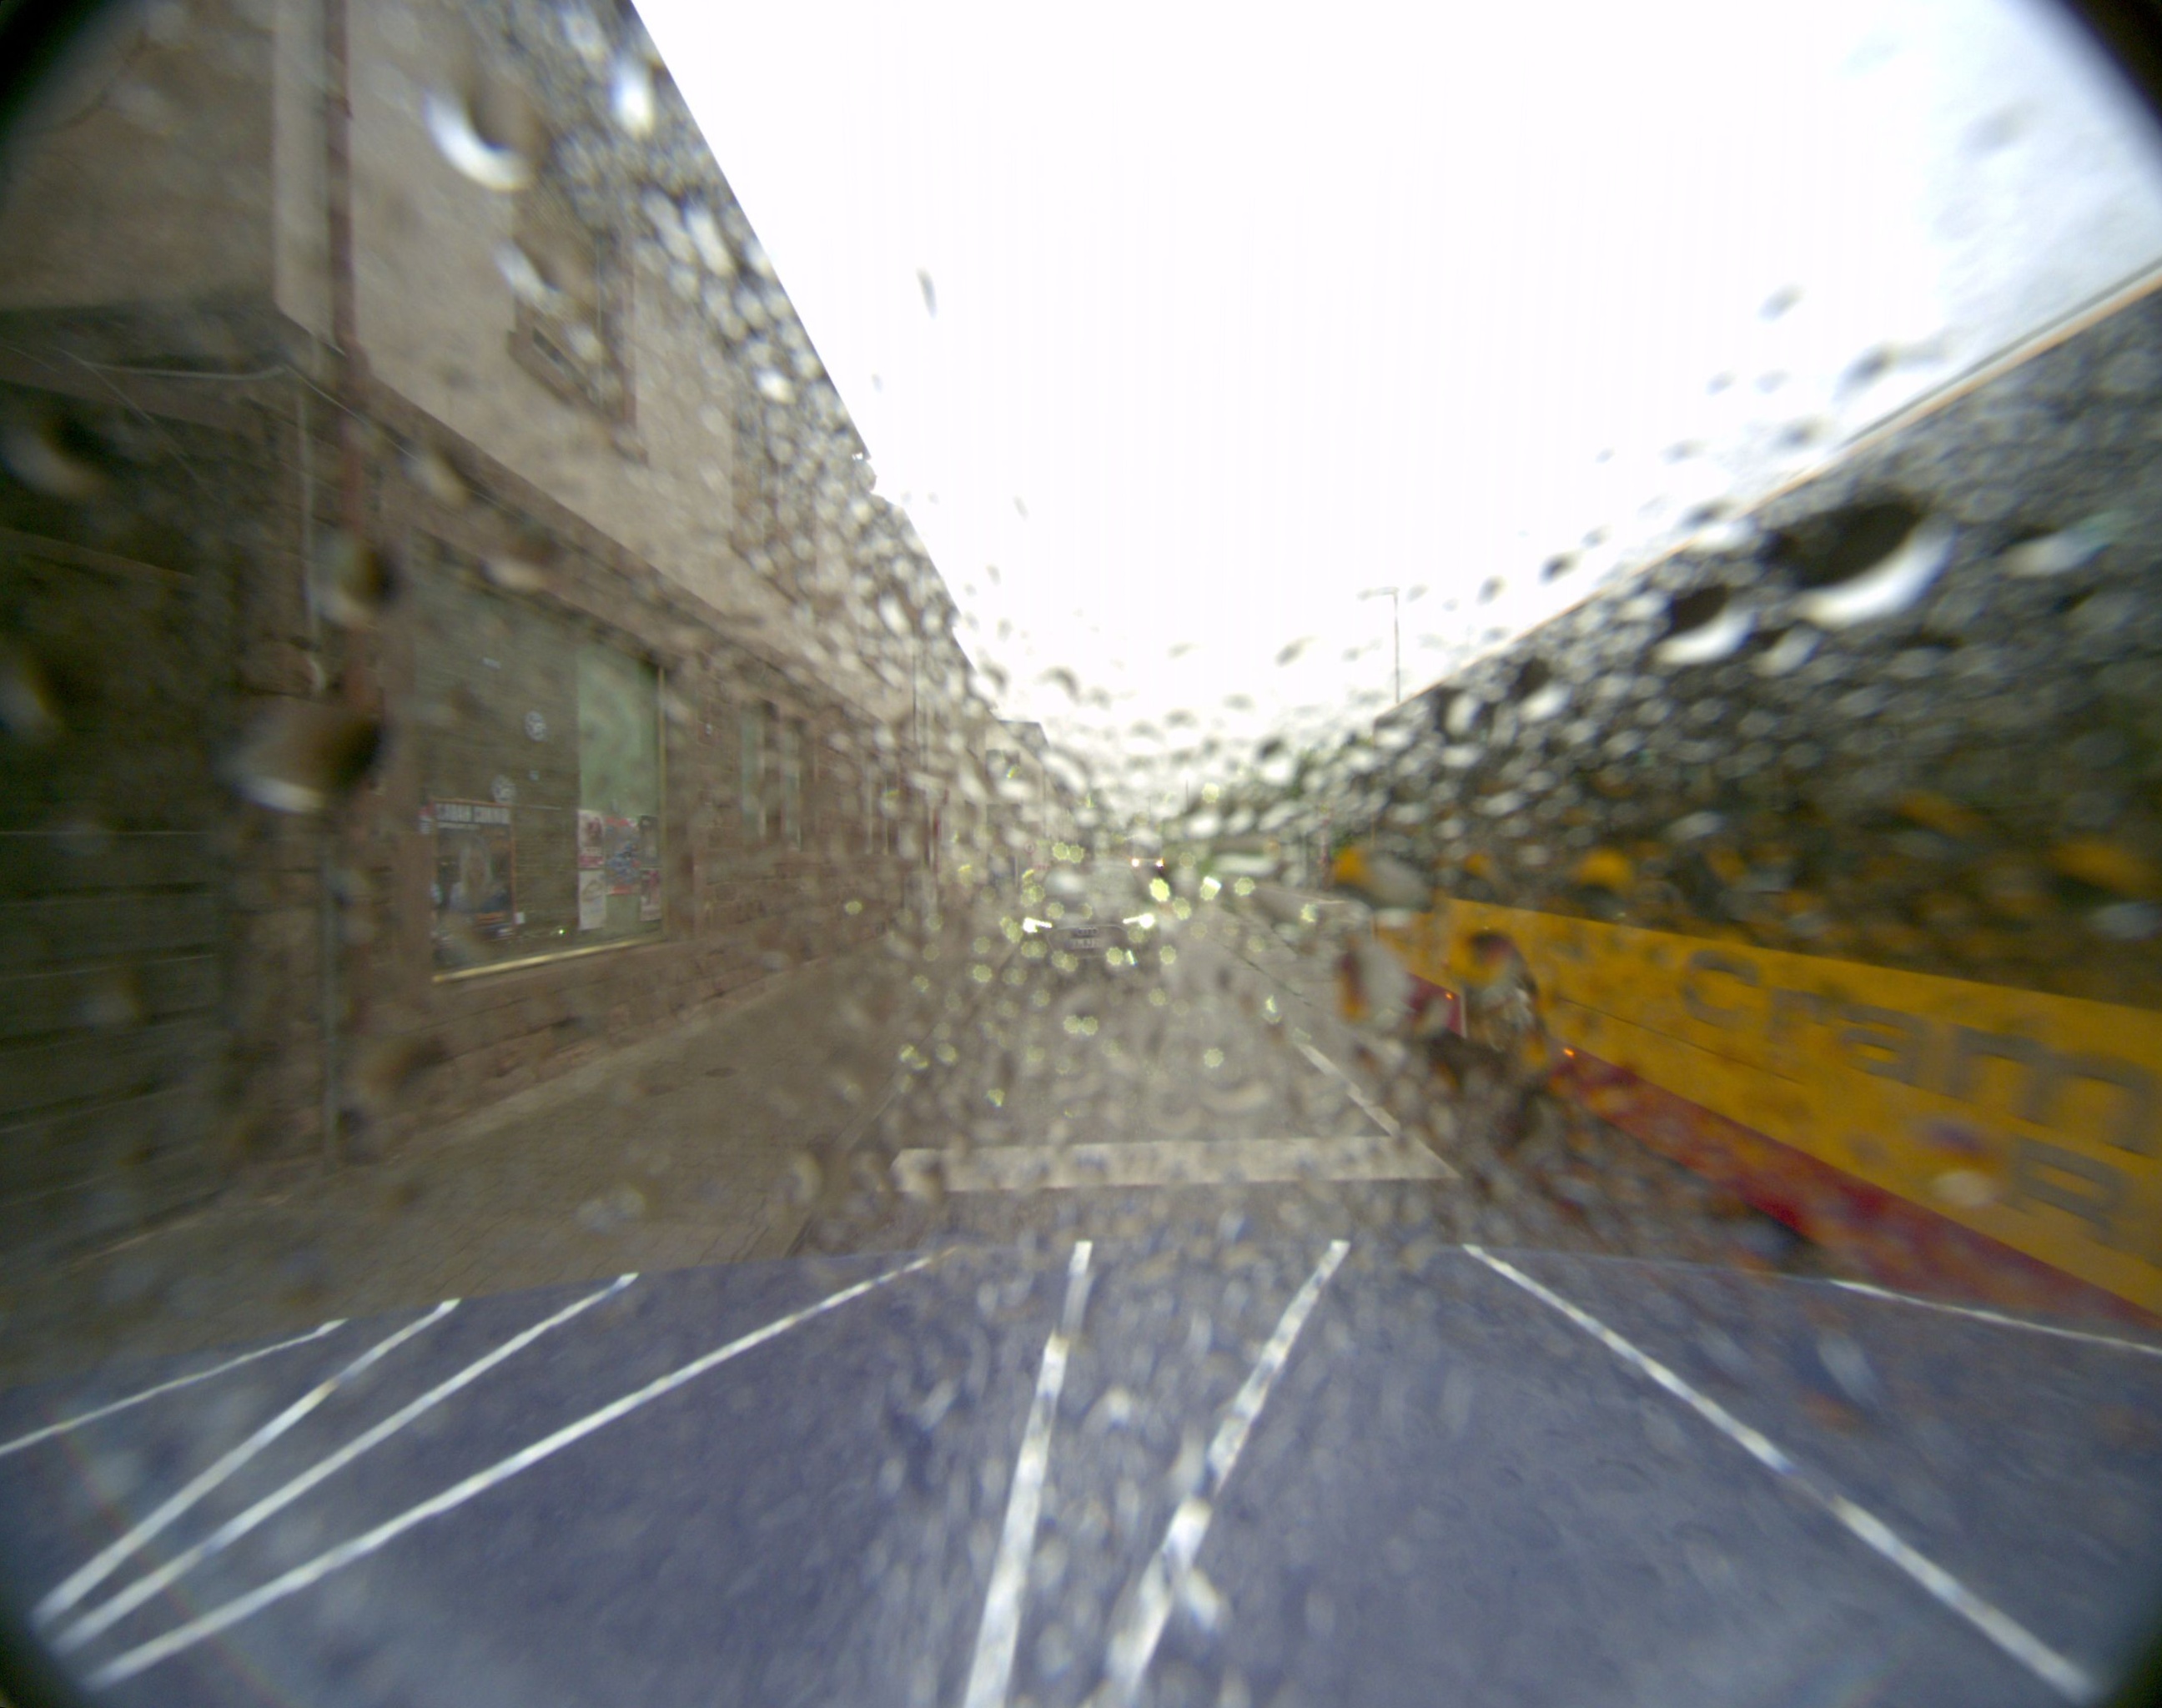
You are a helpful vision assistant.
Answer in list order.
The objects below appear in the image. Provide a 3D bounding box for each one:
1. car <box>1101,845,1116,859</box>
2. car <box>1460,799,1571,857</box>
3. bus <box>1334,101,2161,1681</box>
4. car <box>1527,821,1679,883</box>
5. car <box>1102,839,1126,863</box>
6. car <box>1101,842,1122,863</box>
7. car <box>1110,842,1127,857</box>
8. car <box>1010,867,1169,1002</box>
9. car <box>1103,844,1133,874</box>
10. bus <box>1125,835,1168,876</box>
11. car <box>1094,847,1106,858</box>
[{"bbox_3d":[3.465,-0.264,96.040,1.780,1.602,4.187,-2,1,1],"label":"car"},{"bbox_3d":[16.926,-0.992,29.837,1.998,2.051,4.187,-2,1,1],"label":"car"},{"bbox_3d":[3.387,0.057,1.186,2.812,2.922,11.944,-2,0,5],"label":"bus"},{"bbox_3d":[16.323,-0.102,24.073,1.998,1.706,4.187,-2,1,1],"label":"car"},{"bbox_3d":[2.629,-0.263,61.204,1.780,1.788,4.187,-2,1,1],"label":"car"},{"bbox_3d":[2.780,-0.188,70.557,1.780,1.788,4.187,-2,1,1],"label":"car"},{"bbox_3d":[4.301,-0.499,86.801,1.780,1.602,4.187,-2,1,1],"label":"car"},{"bbox_3d":[0.147,0.969,10.864,1.780,1.349,4.187,-2,1,1],"label":"car"},{"bbox_3d":[2.348,0.272,49.386,1.780,1.788,4.187,-2,1,1],"label":"car"},{"bbox_3d":[5.949,0.015,71.312,3.440,3.392,13.871,-1,1,2],"label":"bus"},{"bbox_3d":[2.864,-0.240,115.683,1.780,1.602,4.187,-2,1,1],"label":"car"}]
